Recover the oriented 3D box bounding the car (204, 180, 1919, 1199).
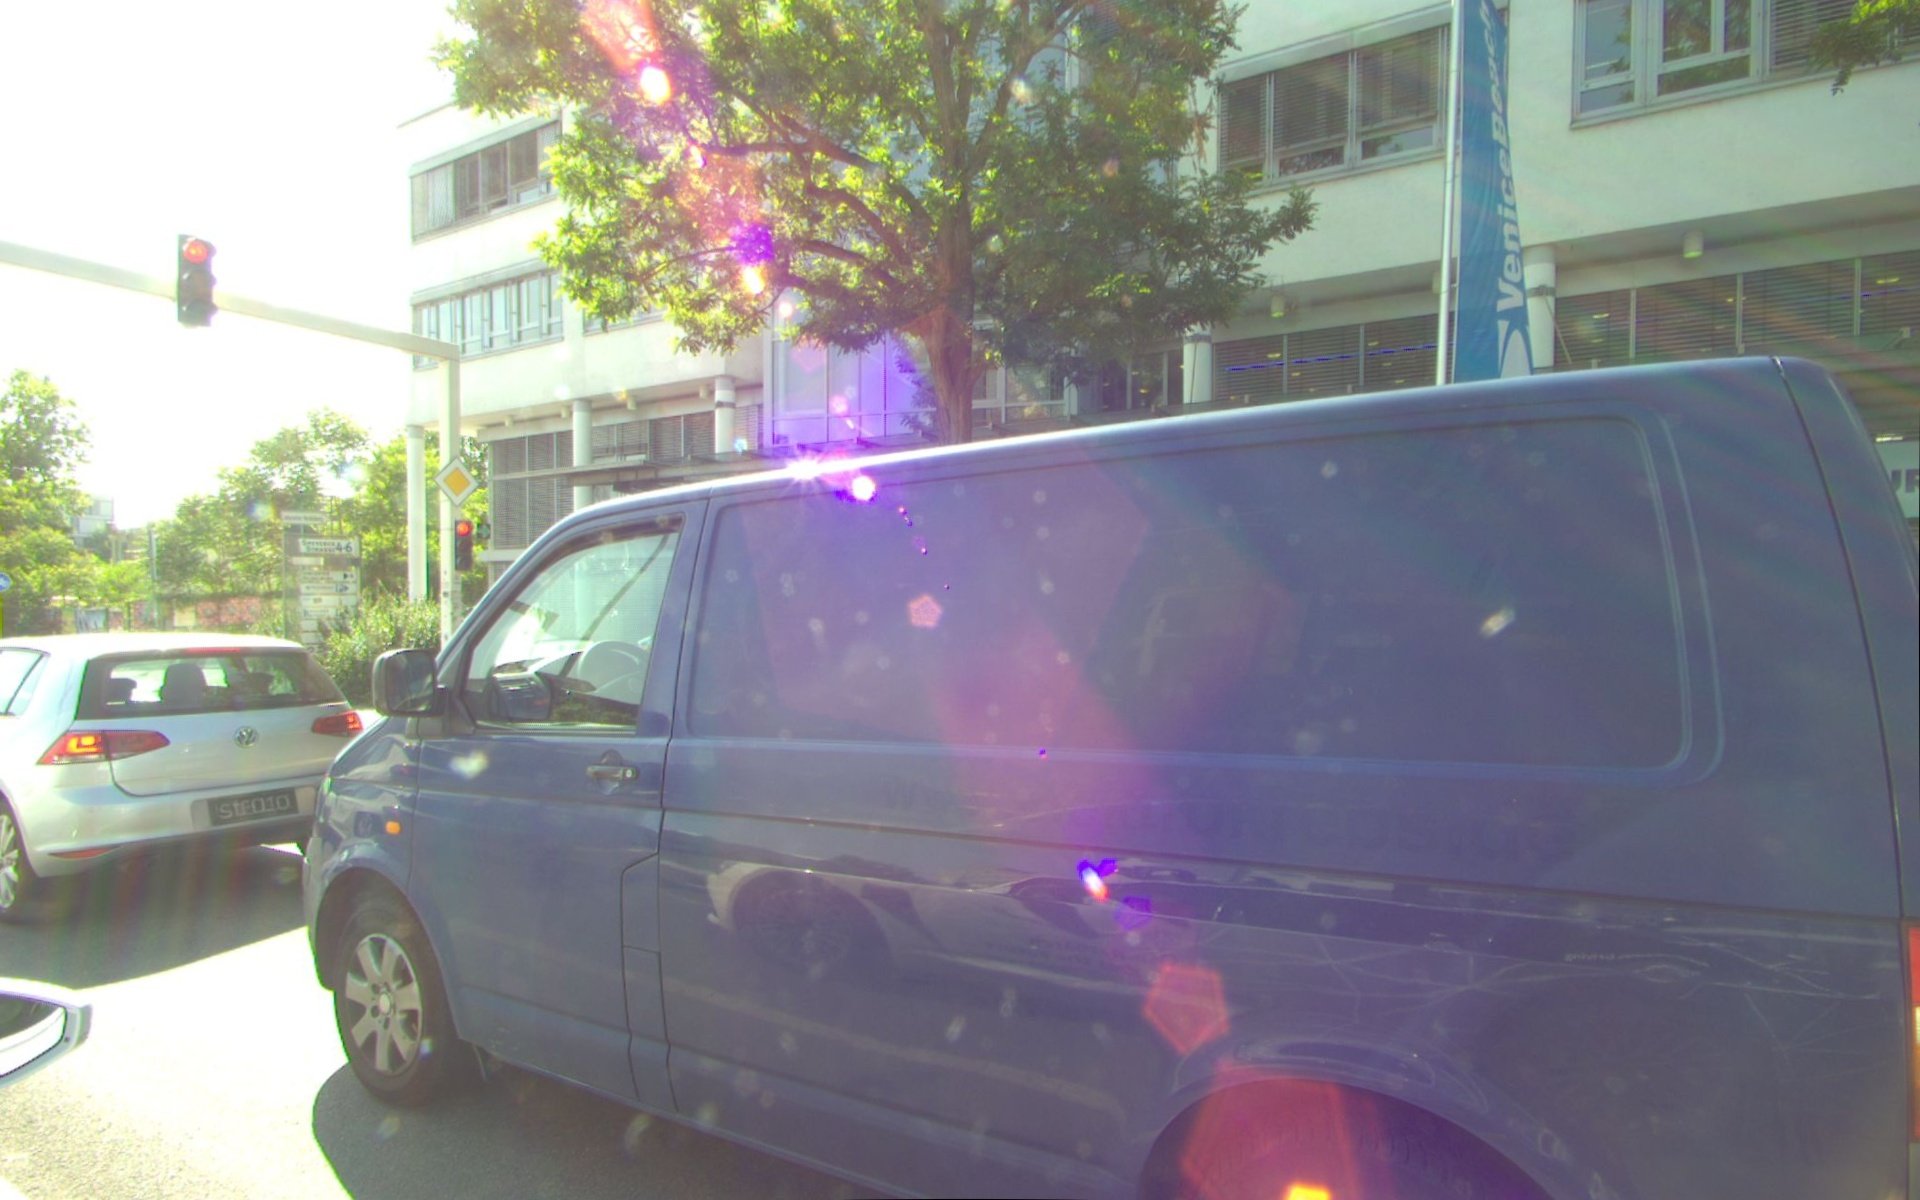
[{"bbox_3d":[-0.190,0.540,3.219,4.821,1.973,1.989,-1,-1,32],"label":"car"}]

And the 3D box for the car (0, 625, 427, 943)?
[{"bbox_3d":[-5.466,0.919,6.451,3.941,1.448,1.804,-1,-1,31],"label":"car"}]

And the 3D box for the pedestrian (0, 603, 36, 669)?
[{"bbox_3d":[-30.094,1.122,31.659,1.023,2.040,1.025,0,0,32],"label":"pedestrian"}]
